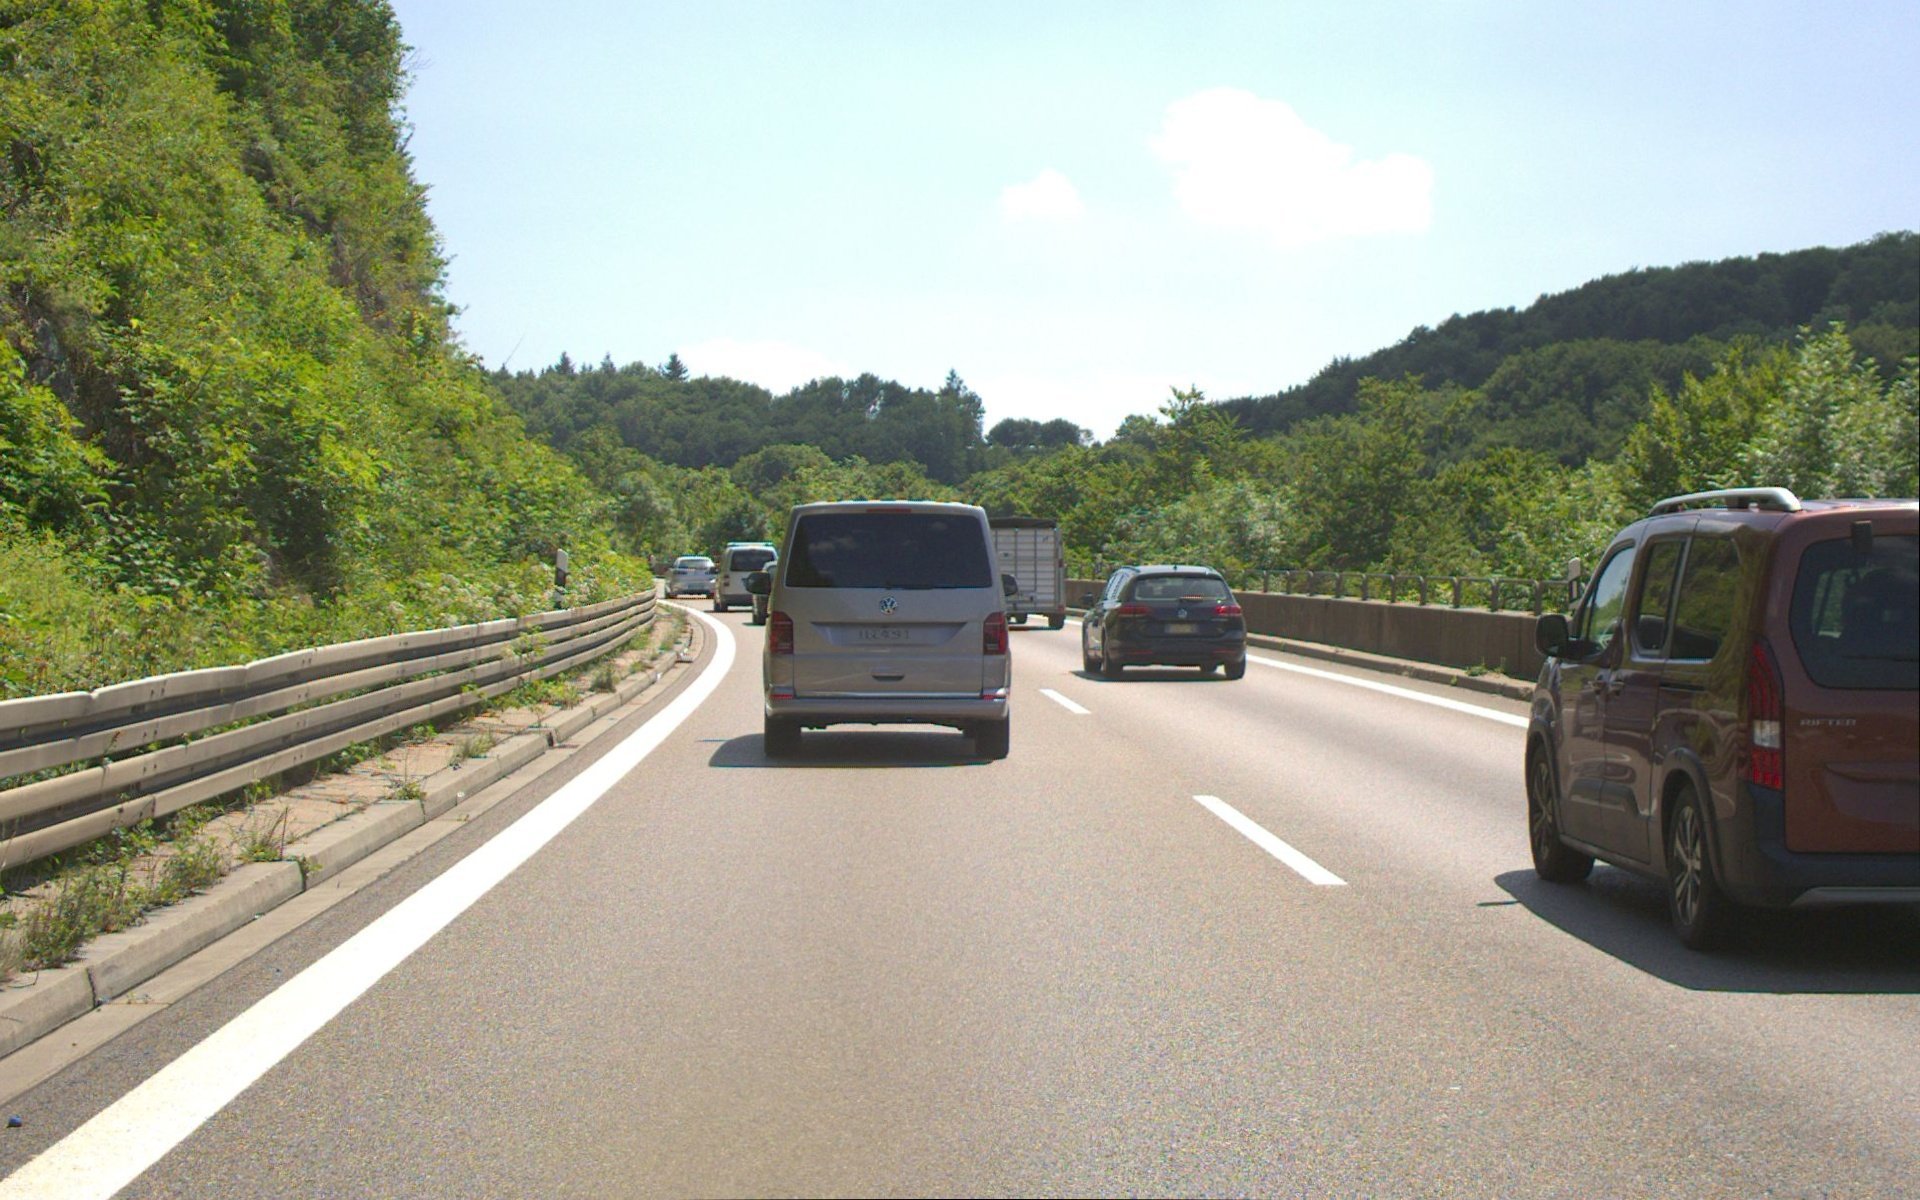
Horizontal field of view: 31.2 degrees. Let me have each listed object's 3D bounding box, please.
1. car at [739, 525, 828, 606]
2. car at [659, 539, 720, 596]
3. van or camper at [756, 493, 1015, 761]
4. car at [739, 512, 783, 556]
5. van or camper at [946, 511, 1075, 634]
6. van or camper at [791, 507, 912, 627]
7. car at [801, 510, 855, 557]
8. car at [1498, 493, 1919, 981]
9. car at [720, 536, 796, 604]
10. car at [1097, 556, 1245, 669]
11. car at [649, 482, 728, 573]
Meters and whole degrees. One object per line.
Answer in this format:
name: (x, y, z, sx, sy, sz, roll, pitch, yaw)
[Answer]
car: (-4.065, -0.802, 79.132, 1.993, 1.811, 4.001, 0, 1, -3)
car: (-9.208, -1.108, 117.209, 1.993, 1.908, 4.001, 0, 1, -4)
van or camper: (-0.628, 0.172, 27.367, 1.875, 1.943, 4.294, -1, 1, -2)
car: (-9.289, -3.053, 160.127, 1.993, 2.007, 4.001, 0, 1, -4)
van or camper: (1.045, -0.599, 74.248, 2.263, 2.542, 4.737, -1, 1, -5)
van or camper: (-3.643, -1.107, 113.105, 3.275, 3.776, 8.113, 0, 1, -7)
car: (-5.696, -2.860, 148.150, 1.993, 2.007, 4.001, 0, 1, -6)
car: (3.652, 0.486, 14.912, 1.833, 1.778, 4.676, 0, 0, -1)
car: (-5.564, -0.845, 95.018, 1.993, 1.811, 4.000, 0, 1, -2)
car: (2.695, 0.133, 44.549, 1.768, 1.371, 3.592, 1, 1, 1)
car: (-15.010, -3.958, 189.355, 4.042, 4.855, 10.111, 0, 1, -6)
